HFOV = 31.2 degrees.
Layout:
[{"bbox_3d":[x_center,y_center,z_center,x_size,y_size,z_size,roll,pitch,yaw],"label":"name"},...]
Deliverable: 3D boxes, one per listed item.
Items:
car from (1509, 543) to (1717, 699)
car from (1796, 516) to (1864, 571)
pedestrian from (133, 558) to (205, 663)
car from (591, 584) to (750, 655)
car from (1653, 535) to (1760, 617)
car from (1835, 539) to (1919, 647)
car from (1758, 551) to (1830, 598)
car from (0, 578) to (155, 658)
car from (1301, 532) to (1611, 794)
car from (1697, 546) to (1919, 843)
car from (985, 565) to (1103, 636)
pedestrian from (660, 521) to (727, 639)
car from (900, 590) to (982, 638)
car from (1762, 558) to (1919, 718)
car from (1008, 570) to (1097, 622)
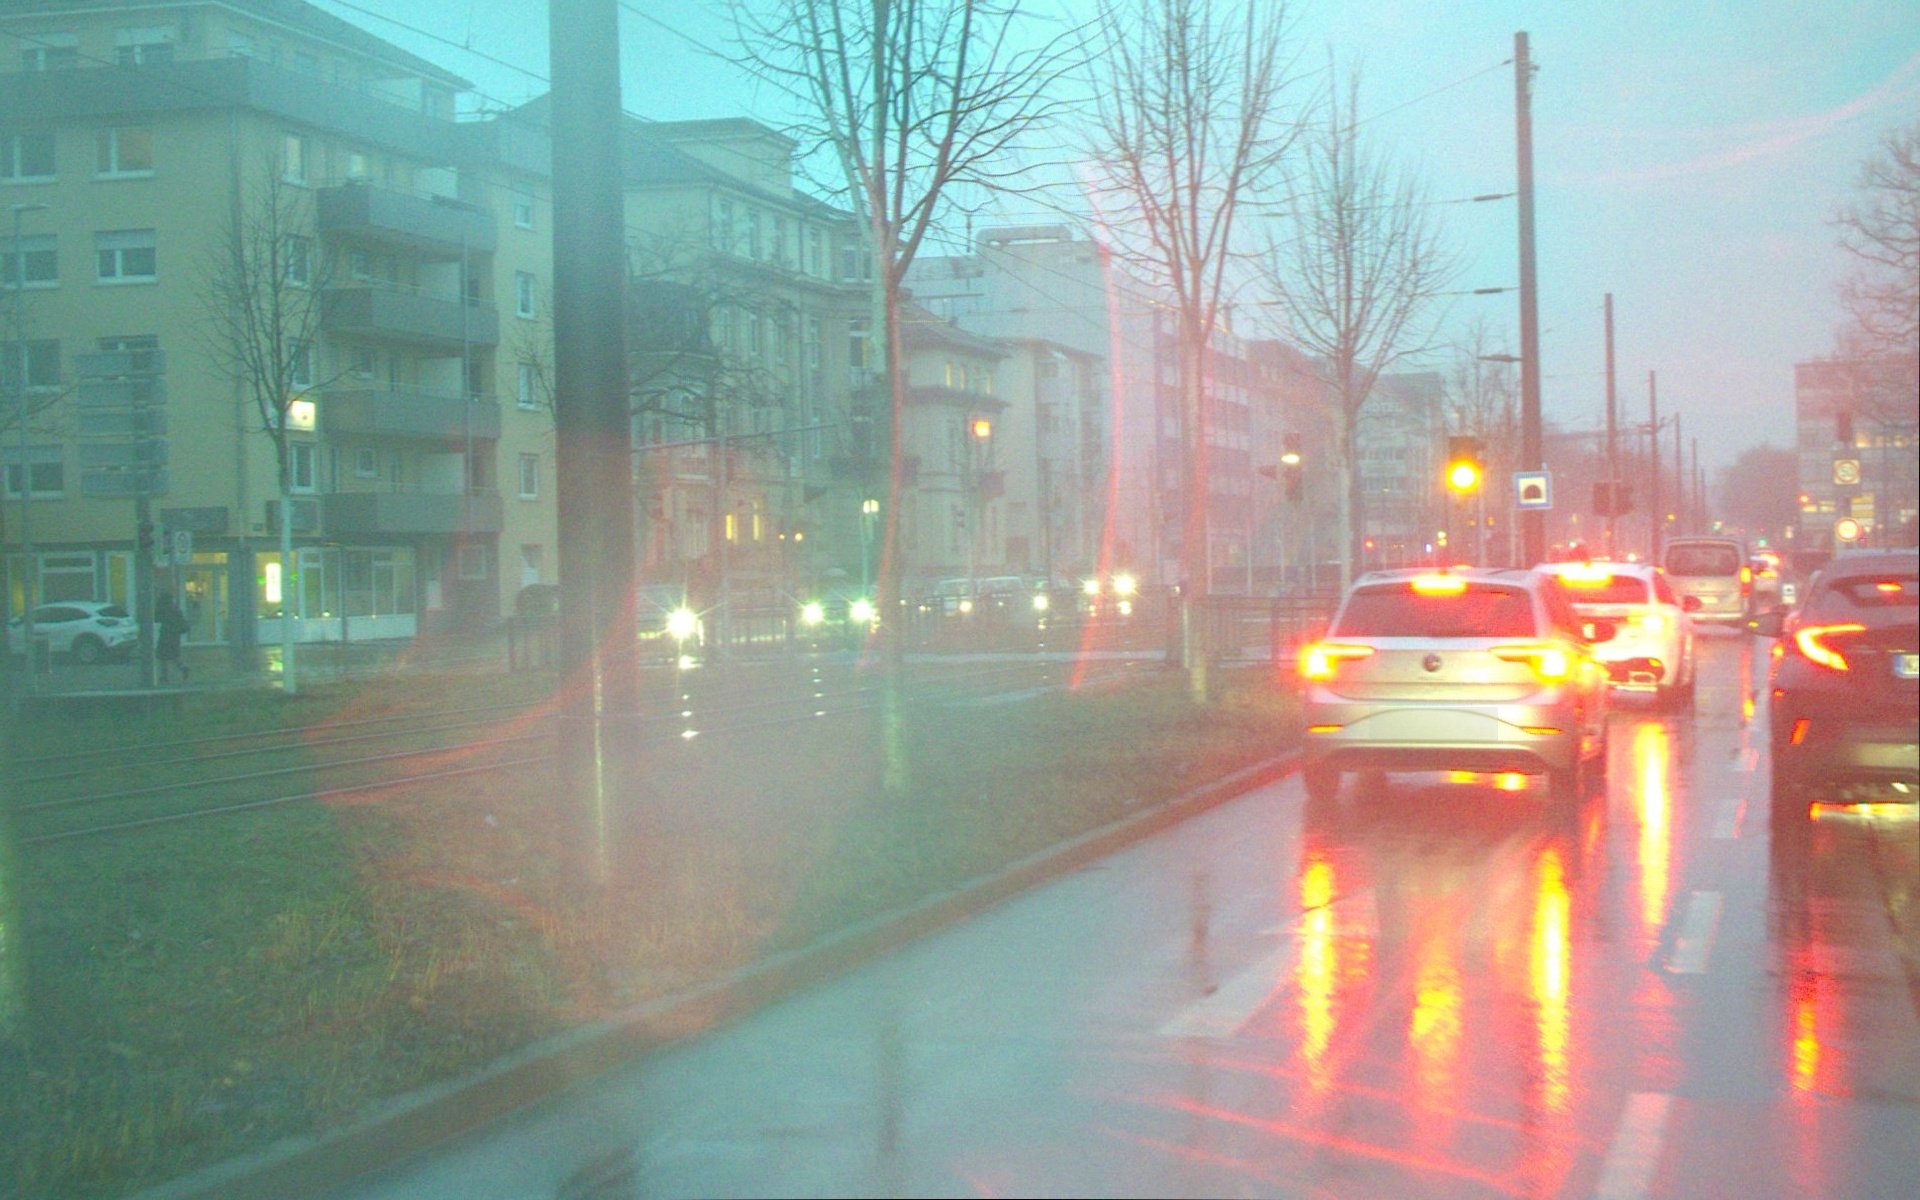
[{"bbox_3d":[6.787,0.172,35.401,1.800,1.461,4.583,-1,1,14],"label":"car"},{"bbox_3d":[23.848,-1.551,94.241,1.739,1.415,4.143,-1,1,14],"label":"car"},{"bbox_3d":[-15.459,0.203,67.193,1.269,2.007,1.008,-1,0,-9],"label":"pedestrian"},{"bbox_3d":[-5.726,0.361,68.521,1.860,1.327,4.312,1,1,14],"label":"car"},{"bbox_3d":[13.690,-0.454,62.934,1.739,1.415,4.391,-1,1,14],"label":"car"},{"bbox_3d":[13.001,-0.129,47.469,1.739,1.415,3.701,-1,1,14],"label":"car"},{"bbox_3d":[24.183,-0.741,99.623,1.931,1.284,3.997,1,1,15],"label":"car"},{"bbox_3d":[-22.363,0.444,86.330,3.749,1.936,1.842,1,1,7],"label":"car"},{"bbox_3d":[3.283,0.331,22.193,1.694,1.528,3.998,0,1,12],"label":"car"},{"bbox_3d":[5.150,0.460,19.343,1.801,1.505,3.893,-1,0,14],"label":"car"},{"bbox_3d":[2.010,-0.003,81.307,1.995,1.597,3.998,1,1,13],"label":"car"},{"bbox_3d":[-4.623,-0.345,59.623,1.004,2.007,0.962,-1,0,-11],"label":"pedestrian"},{"bbox_3d":[-0.503,0.390,96.570,1.691,1.273,4.147,-1,0,8],"label":"car"},{"bbox_3d":[8.626,0.330,32.884,1.746,1.428,3.729,1,1,15],"label":"car"},{"bbox_3d":[2.926,-0.142,107.779,1.951,1.597,3.997,1,1,14],"label":"car"}]
